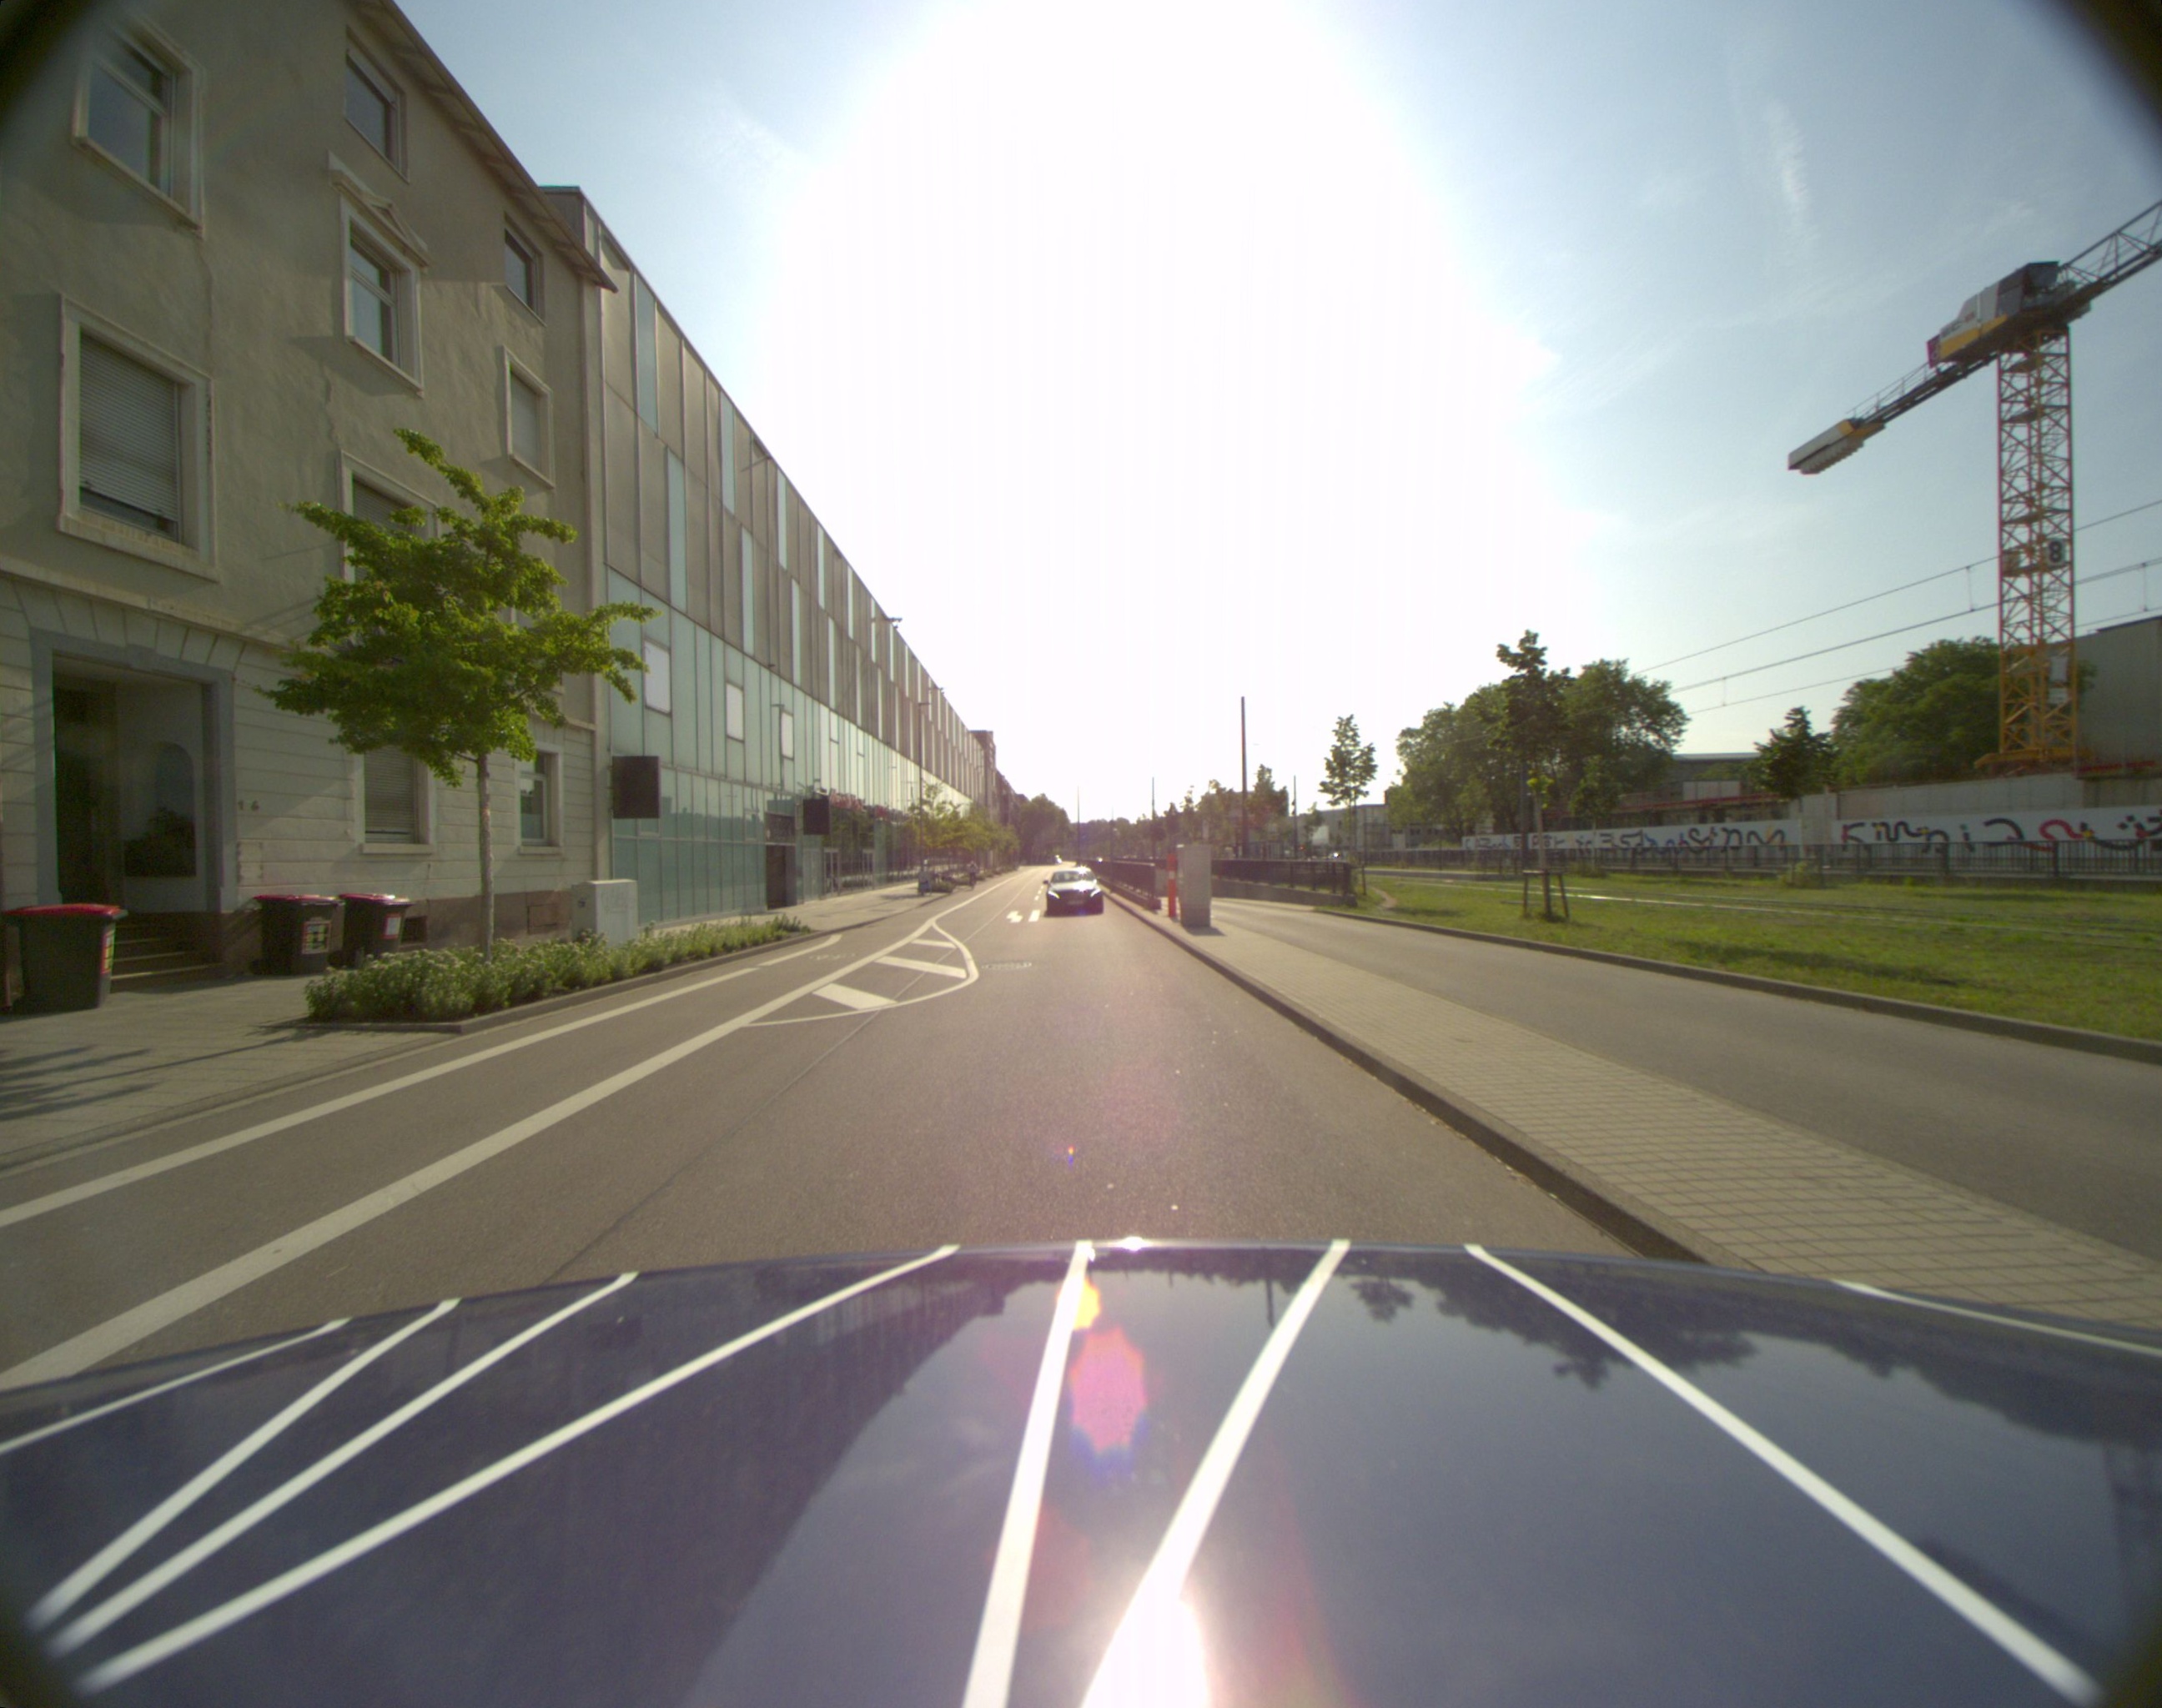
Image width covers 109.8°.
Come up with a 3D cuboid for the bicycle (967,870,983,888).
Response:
[{"bbox_3d":[-6.785,1.580,48.755,0.662,1.111,2.051,-1,0,1],"label":"bicycle"}]

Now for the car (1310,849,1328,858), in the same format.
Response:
[{"bbox_3d":[34.162,-0.059,108.972,1.505,1.195,2.960,-2,0,-2],"label":"car"}]

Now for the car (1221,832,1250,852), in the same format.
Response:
[{"bbox_3d":[28.300,-2.204,139.844,3.062,3.492,9.231,-2,0,-2],"label":"car"}]

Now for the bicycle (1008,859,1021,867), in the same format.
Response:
[{"bbox_3d":[-10.170,1.371,116.603,1.844,1.106,0.687,-3,0,1],"label":"bicycle"}]

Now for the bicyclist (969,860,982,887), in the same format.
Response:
[{"bbox_3d":[-6.783,1.241,48.882,0.652,1.738,0.769,-1,0,1],"label":"bicyclist"}]

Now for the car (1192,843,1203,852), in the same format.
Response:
[{"bbox_3d":[27.450,-1.555,178.491,1.957,2.002,4.000,-1,0,0],"label":"car"}]

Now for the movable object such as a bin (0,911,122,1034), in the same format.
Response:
[{"bbox_3d":[-10.413,1.175,7.778,0.672,1.145,0.616,0,-2,-45],"label":"movable object such as a bin"}]

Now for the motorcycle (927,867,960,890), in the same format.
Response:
[{"bbox_3d":[-8.526,1.496,47.235,1.976,1.342,0.866,-1,1,-12],"label":"motorcycle"}]

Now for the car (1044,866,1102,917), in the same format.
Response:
[{"bbox_3d":[-0.171,1.185,25.622,1.716,1.429,5.057,-2,0,1],"label":"car"}]

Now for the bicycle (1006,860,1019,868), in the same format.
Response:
[{"bbox_3d":[-10.124,1.445,112.426,1.883,1.103,0.490,-1,0,1],"label":"bicycle"}]

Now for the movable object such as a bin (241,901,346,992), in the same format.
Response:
[{"bbox_3d":[-10.575,1.228,10.226,0.706,1.145,0.671,-2,-2,-2],"label":"movable object such as a bin"}]

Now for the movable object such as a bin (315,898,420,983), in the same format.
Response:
[{"bbox_3d":[-10.495,1.251,11.199,0.783,1.165,0.808,-2,-2,-2],"label":"movable object such as a bin"}]

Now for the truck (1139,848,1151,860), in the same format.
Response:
[{"bbox_3d":[20.417,-0.023,242.691,3.029,3.565,8.890,-1,0,-1],"label":"truck"}]
